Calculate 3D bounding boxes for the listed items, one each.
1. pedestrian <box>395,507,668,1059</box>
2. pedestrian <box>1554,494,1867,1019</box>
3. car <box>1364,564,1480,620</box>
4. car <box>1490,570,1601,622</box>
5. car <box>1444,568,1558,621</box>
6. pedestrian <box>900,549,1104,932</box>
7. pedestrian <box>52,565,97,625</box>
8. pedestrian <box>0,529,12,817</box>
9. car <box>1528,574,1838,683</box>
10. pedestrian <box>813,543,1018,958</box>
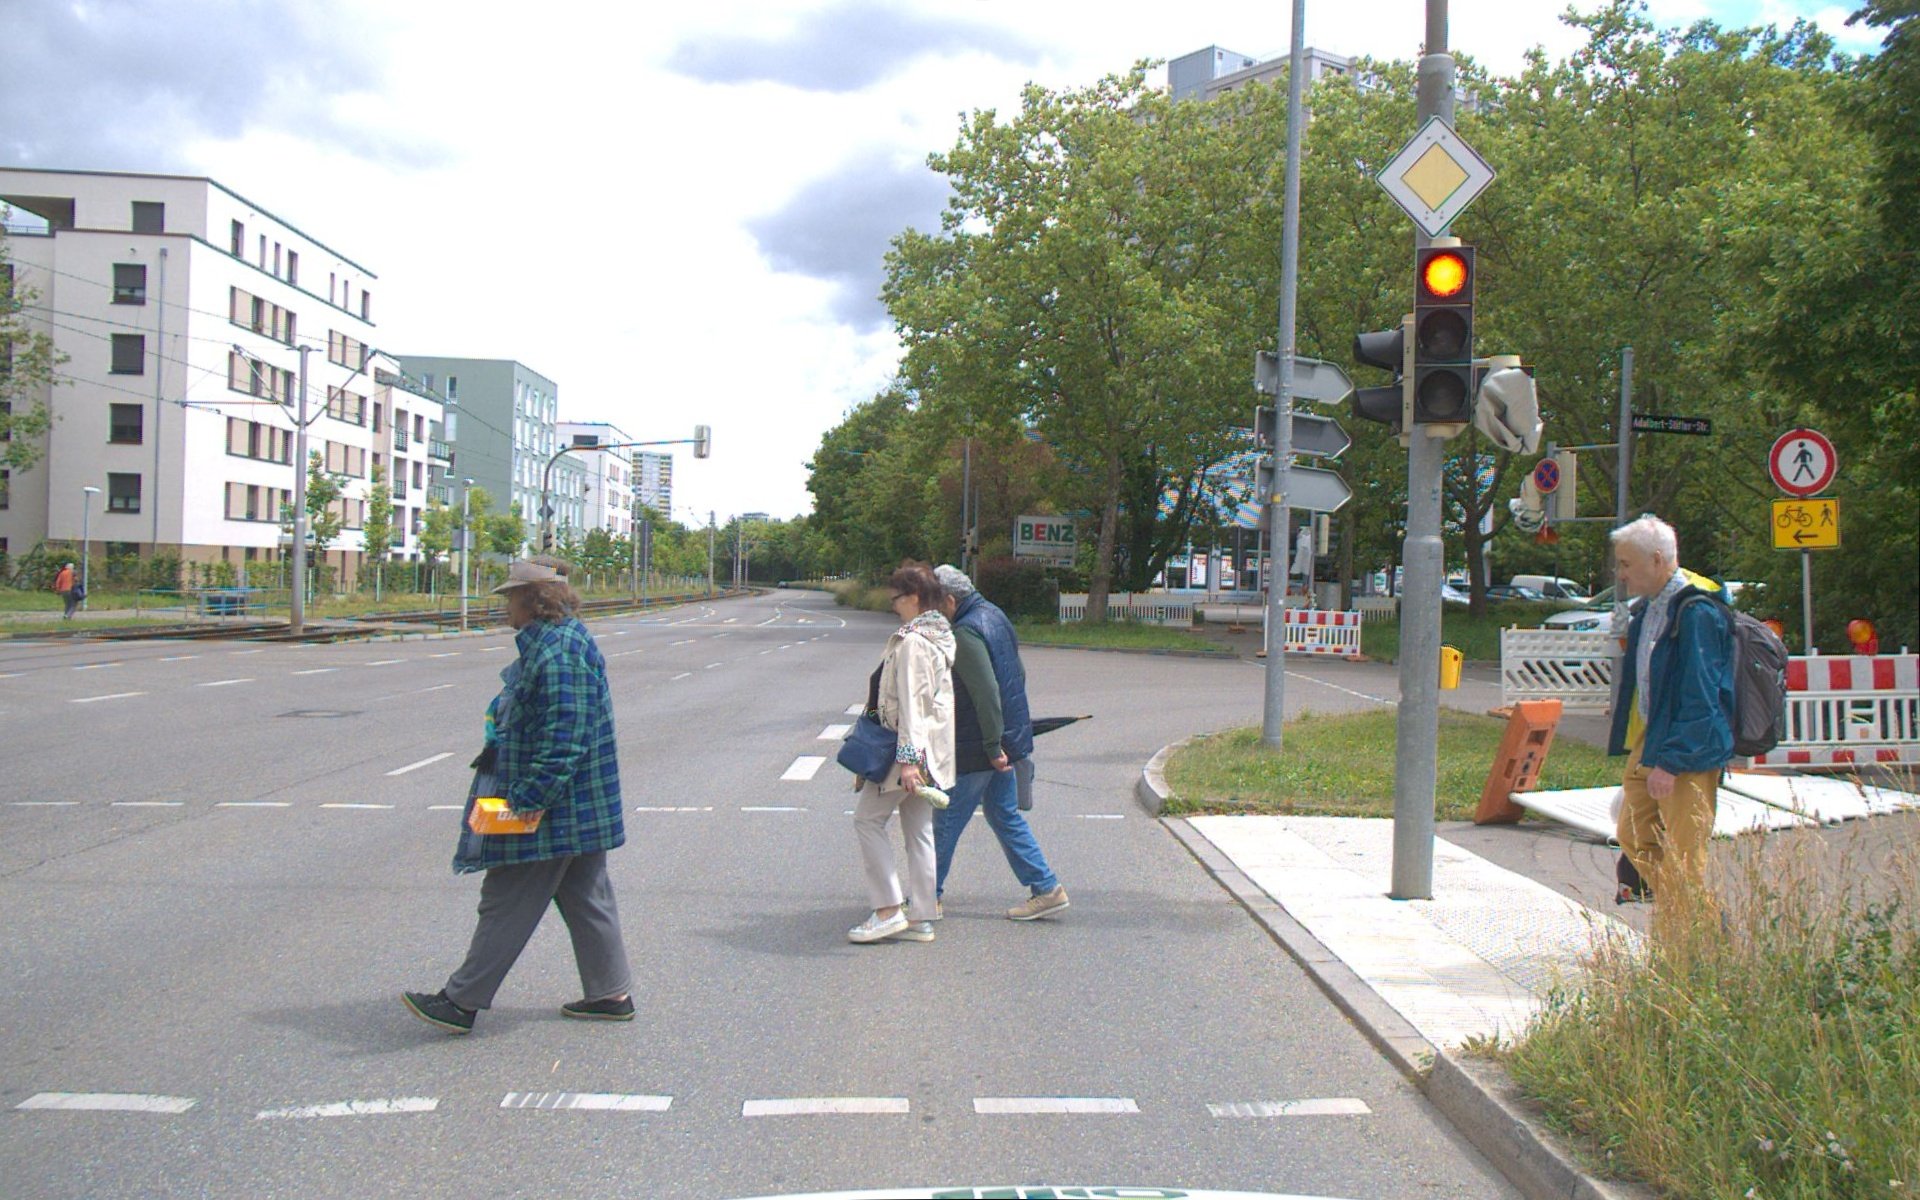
[{"bbox_3d":[-1.417,0.563,5.543,0.808,1.700,0.731,1,0,-13],"label":"pedestrian"},{"bbox_3d":[2.813,0.528,6.312,0.989,1.805,0.948,1,0,21],"label":"pedestrian"},{"bbox_3d":[17.520,-0.314,62.833,1.974,2.049,3.957,0,1,-32],"label":"car"},{"bbox_3d":[23.932,-0.182,67.703,1.974,2.049,3.957,0,1,-32],"label":"car"},{"bbox_3d":[21.364,-0.234,65.467,1.974,2.049,3.957,0,1,-32],"label":"car"},{"bbox_3d":[0.172,0.610,7.580,0.851,1.663,0.765,1,0,-4],"label":"pedestrian"},{"bbox_3d":[-23.139,-0.131,43.245,0.814,1.542,0.636,1,0,-1],"label":"pedestrian"},{"bbox_3d":[-6.288,0.447,9.868,0.766,1.773,0.828,1,0,-1],"label":"pedestrian"},{"bbox_3d":[13.423,0.503,30.867,4.976,1.906,1.947,1,0,-5],"label":"car"},{"bbox_3d":[-0.196,0.606,7.047,0.806,1.668,0.733,1,0,-3],"label":"pedestrian"}]
